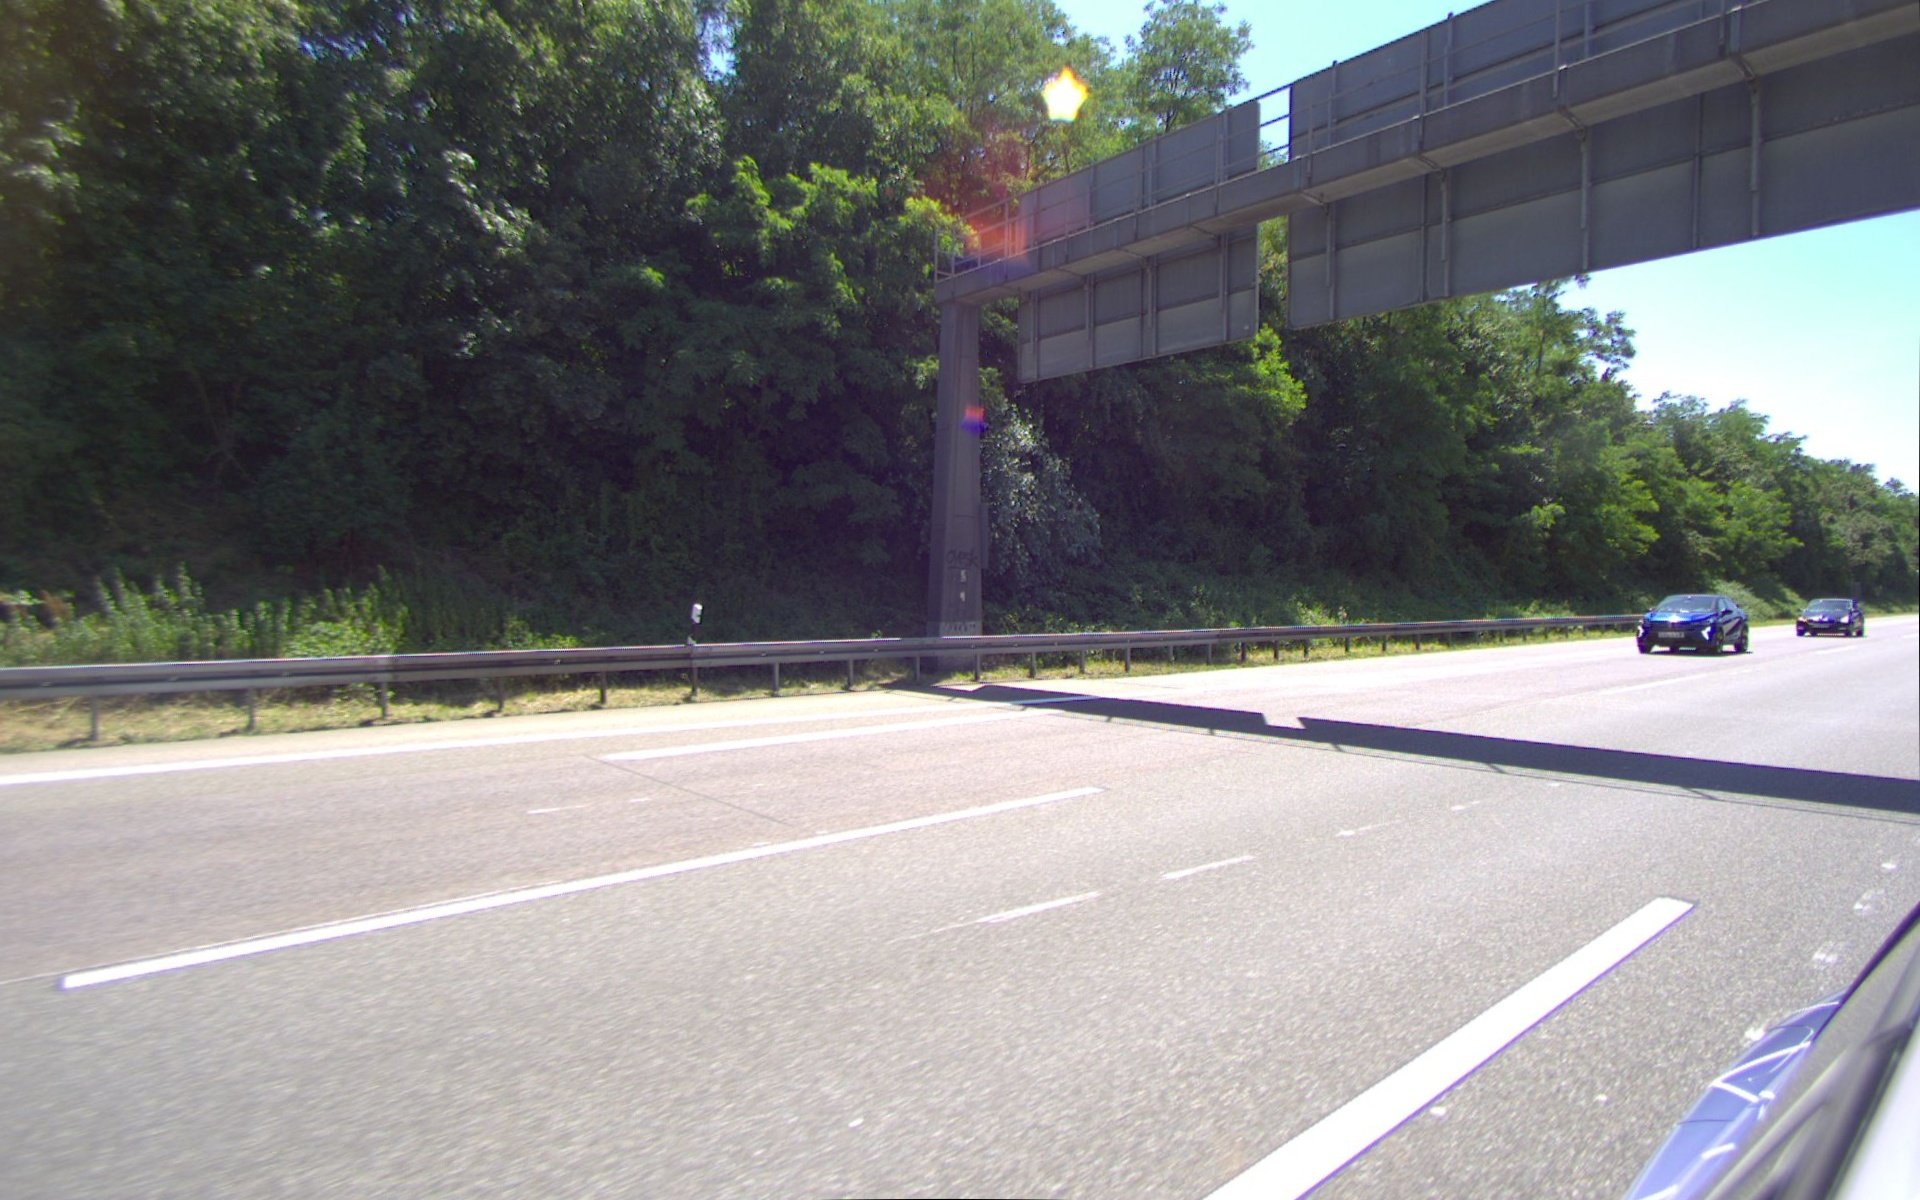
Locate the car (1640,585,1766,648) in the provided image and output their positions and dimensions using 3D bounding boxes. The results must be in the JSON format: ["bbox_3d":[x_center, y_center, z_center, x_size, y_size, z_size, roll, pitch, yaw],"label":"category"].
[{"bbox_3d":[20.111,0.382,27.333,4.128,1.575,1.873,-1,1,-41],"label":"car"}]

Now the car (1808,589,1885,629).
[{"bbox_3d":[34.689,0.327,39.573,4.494,1.465,1.673,-1,1,-41],"label":"car"}]
